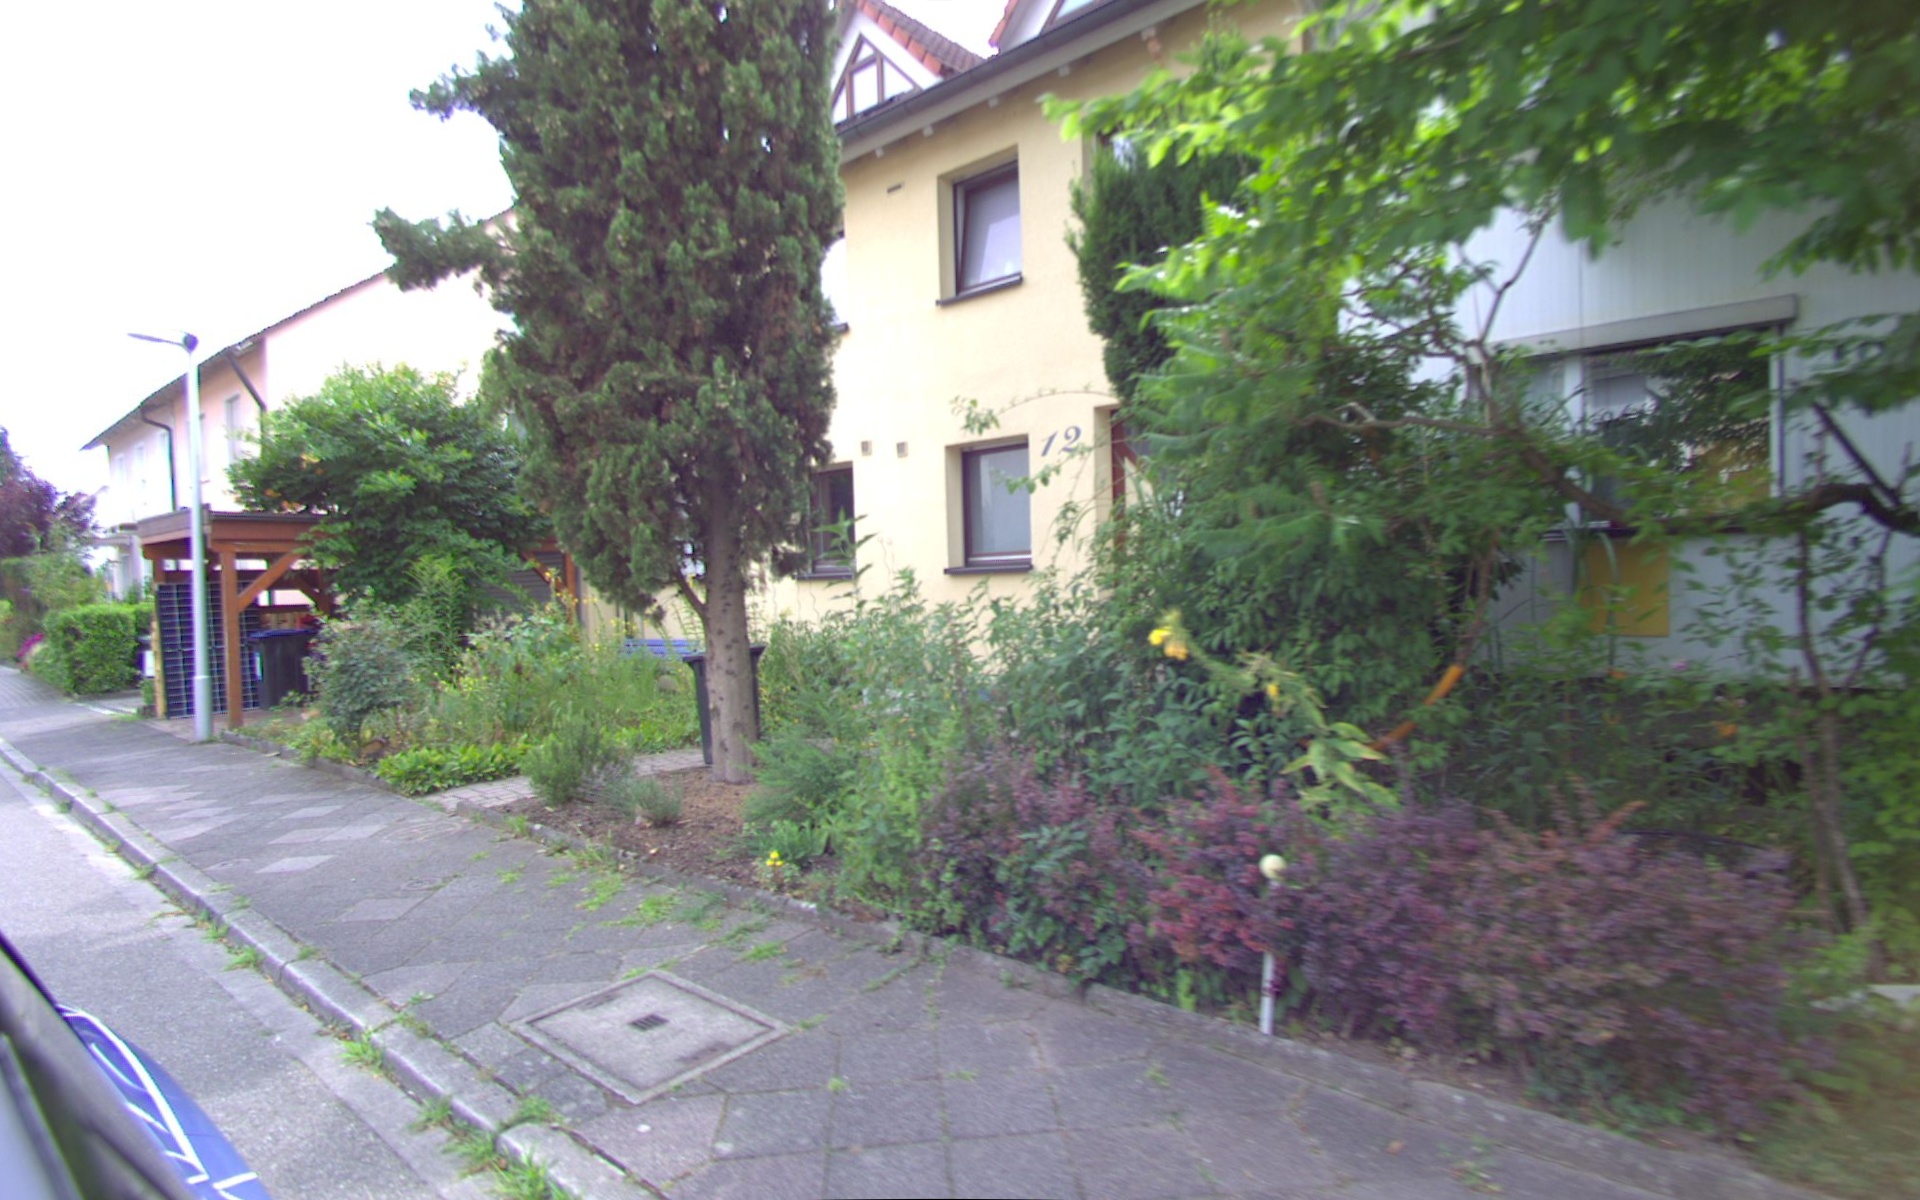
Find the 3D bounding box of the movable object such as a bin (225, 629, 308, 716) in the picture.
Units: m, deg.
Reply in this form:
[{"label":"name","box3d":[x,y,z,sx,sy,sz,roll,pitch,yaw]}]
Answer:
[{"label":"movable object such as a bin","box3d":[-9.406,0.966,13.720,0.822,1.079,0.696,-1,2,41]}]

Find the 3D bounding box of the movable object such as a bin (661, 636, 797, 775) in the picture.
[{"label":"movable object such as a bin","box3d":[-1.792,0.786,7.867,0.750,0.963,0.704,-1,1,41]}]

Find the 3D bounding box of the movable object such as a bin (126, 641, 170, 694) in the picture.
[{"label":"movable object such as a bin","box3d":[-14.357,1.179,17.894,0.530,0.888,0.490,-2,1,41]}]

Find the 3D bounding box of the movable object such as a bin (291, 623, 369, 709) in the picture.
[{"label":"movable object such as a bin","box3d":[-8.832,0.900,14.195,0.877,1.138,0.696,-1,0,41]}]

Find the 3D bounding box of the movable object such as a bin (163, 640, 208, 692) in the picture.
[{"label":"movable object such as a bin","box3d":[-14.005,1.180,18.296,0.534,0.886,0.532,-2,1,41]}]
